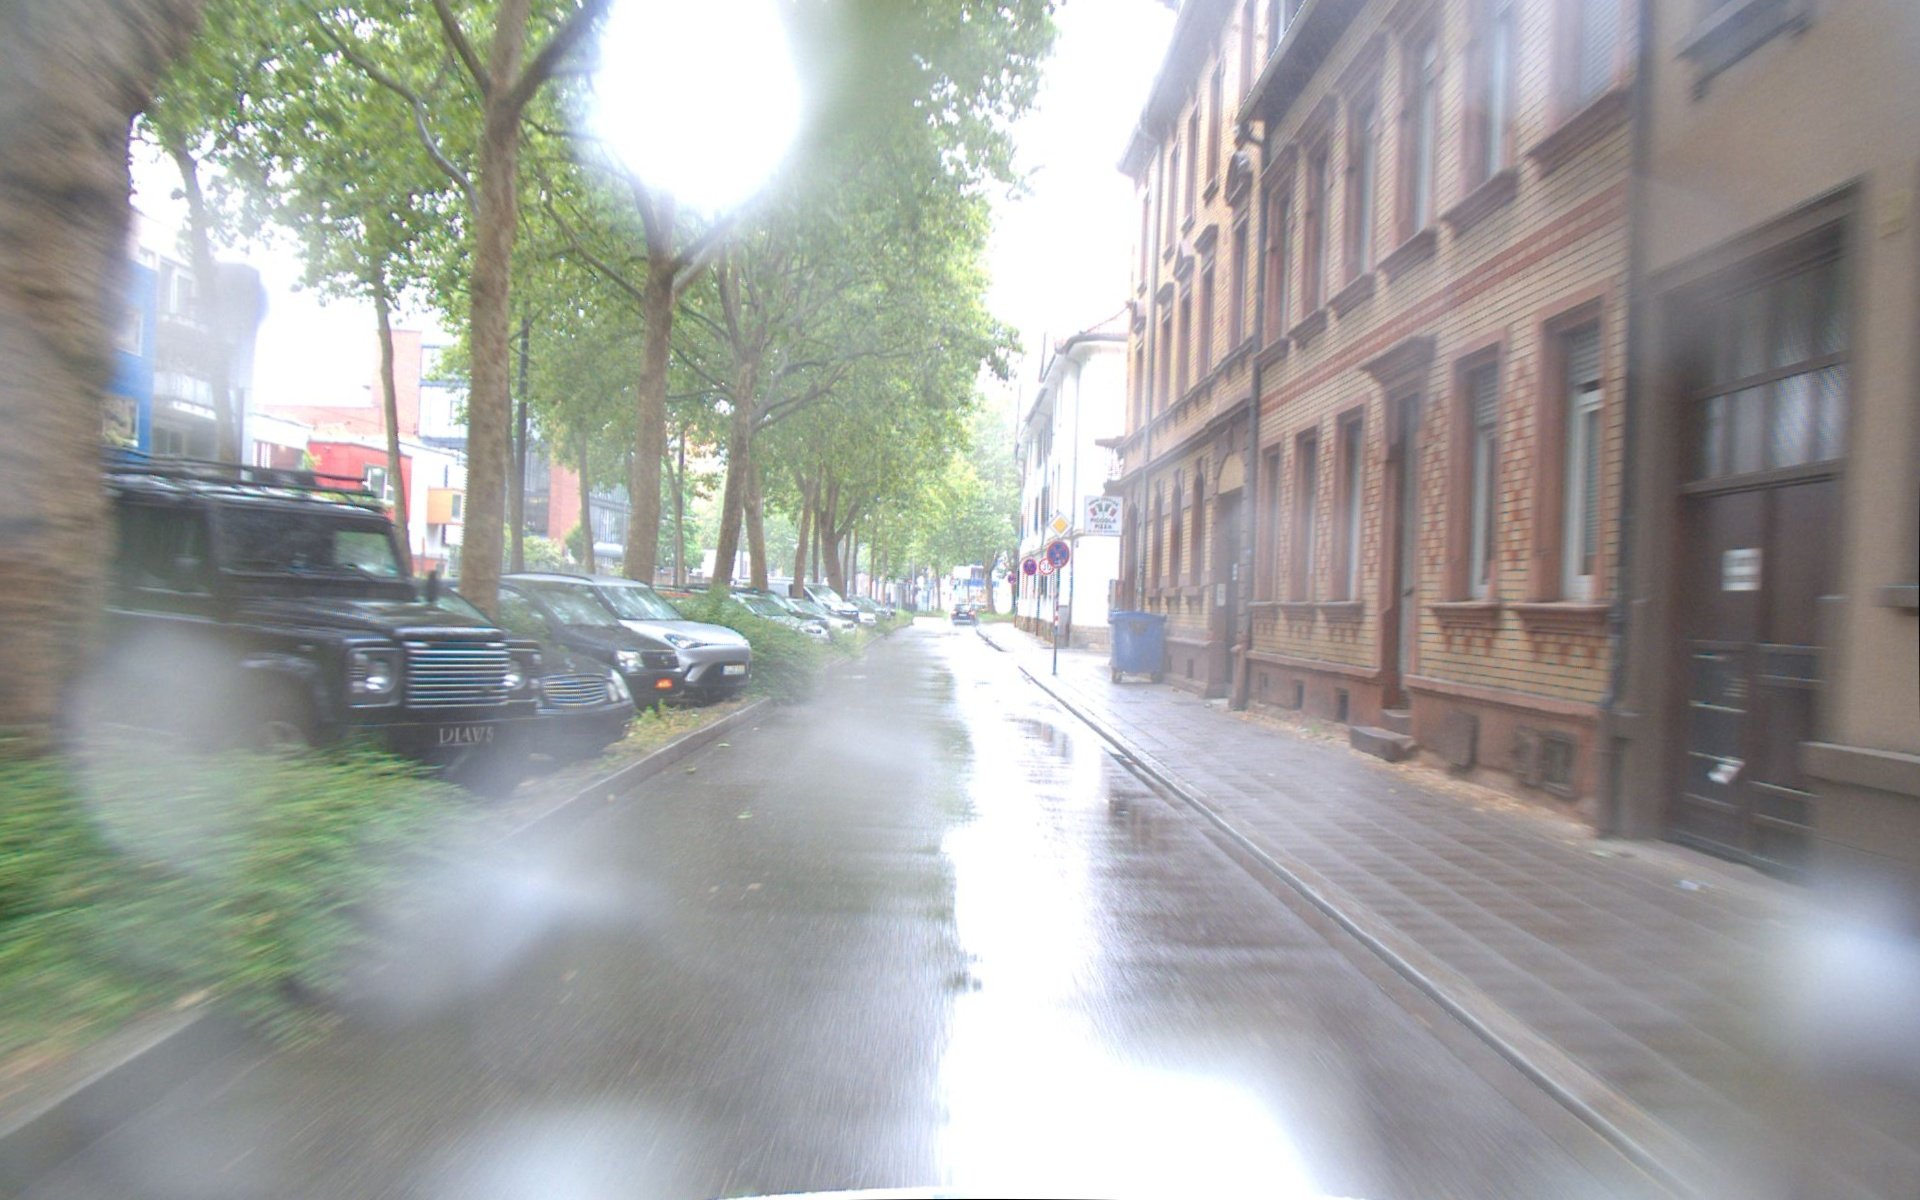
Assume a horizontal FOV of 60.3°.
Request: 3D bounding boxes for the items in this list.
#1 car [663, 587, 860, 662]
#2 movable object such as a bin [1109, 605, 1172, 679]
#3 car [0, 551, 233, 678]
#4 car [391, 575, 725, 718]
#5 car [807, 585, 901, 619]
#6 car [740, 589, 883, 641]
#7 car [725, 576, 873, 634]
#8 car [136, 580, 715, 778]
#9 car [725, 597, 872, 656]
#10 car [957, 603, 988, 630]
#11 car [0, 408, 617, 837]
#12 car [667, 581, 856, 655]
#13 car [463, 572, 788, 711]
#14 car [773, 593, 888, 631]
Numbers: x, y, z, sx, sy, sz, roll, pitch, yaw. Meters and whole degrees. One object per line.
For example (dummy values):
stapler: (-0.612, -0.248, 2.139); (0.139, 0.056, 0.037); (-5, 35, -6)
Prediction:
car: (-4.636, 0.561, 38.446); (4.322, 1.674, 1.868); (0, -1, 30)
movable object such as a bin: (3.432, 0.783, 31.517); (1.000, 1.324, 1.366); (-2, 1, -1)
car: (-11.916, 0.155, 22.951); (1.866, 1.561, 4.214); (2, 0, -2)
car: (-4.667, 0.500, 19.268); (3.427, 1.493, 1.642); (1, 0, 21)
car: (-5.445, 0.094, 84.884); (4.371, 1.625, 1.921); (2, 0, 26)
car: (-4.730, 0.460, 52.675); (4.218, 1.462, 1.746); (3, 1, 26)
car: (-5.805, 0.166, 59.492); (5.020, 2.012, 2.099); (0, 0, 30)
car: (-4.444, 0.557, 13.652); (4.554, 1.349, 1.845); (1, 0, 27)
car: (-4.811, 0.765, 49.250); (3.974, 1.525, 1.747); (3, 1, 23)
car: (0.826, 1.114, 111.311); (1.953, 1.668, 3.999); (3, 0, -1)
car: (-4.682, 0.091, 11.047); (4.562, 2.323, 2.006); (1, 0, 33)
car: (-4.955, 0.420, 41.251); (4.318, 1.689, 1.927); (1, 0, 27)
car: (-4.466, 0.498, 21.981); (3.977, 1.564, 1.832); (3, 1, 30)
car: (-5.324, 0.481, 67.736); (4.461, 1.508, 1.772); (0, 0, 30)
